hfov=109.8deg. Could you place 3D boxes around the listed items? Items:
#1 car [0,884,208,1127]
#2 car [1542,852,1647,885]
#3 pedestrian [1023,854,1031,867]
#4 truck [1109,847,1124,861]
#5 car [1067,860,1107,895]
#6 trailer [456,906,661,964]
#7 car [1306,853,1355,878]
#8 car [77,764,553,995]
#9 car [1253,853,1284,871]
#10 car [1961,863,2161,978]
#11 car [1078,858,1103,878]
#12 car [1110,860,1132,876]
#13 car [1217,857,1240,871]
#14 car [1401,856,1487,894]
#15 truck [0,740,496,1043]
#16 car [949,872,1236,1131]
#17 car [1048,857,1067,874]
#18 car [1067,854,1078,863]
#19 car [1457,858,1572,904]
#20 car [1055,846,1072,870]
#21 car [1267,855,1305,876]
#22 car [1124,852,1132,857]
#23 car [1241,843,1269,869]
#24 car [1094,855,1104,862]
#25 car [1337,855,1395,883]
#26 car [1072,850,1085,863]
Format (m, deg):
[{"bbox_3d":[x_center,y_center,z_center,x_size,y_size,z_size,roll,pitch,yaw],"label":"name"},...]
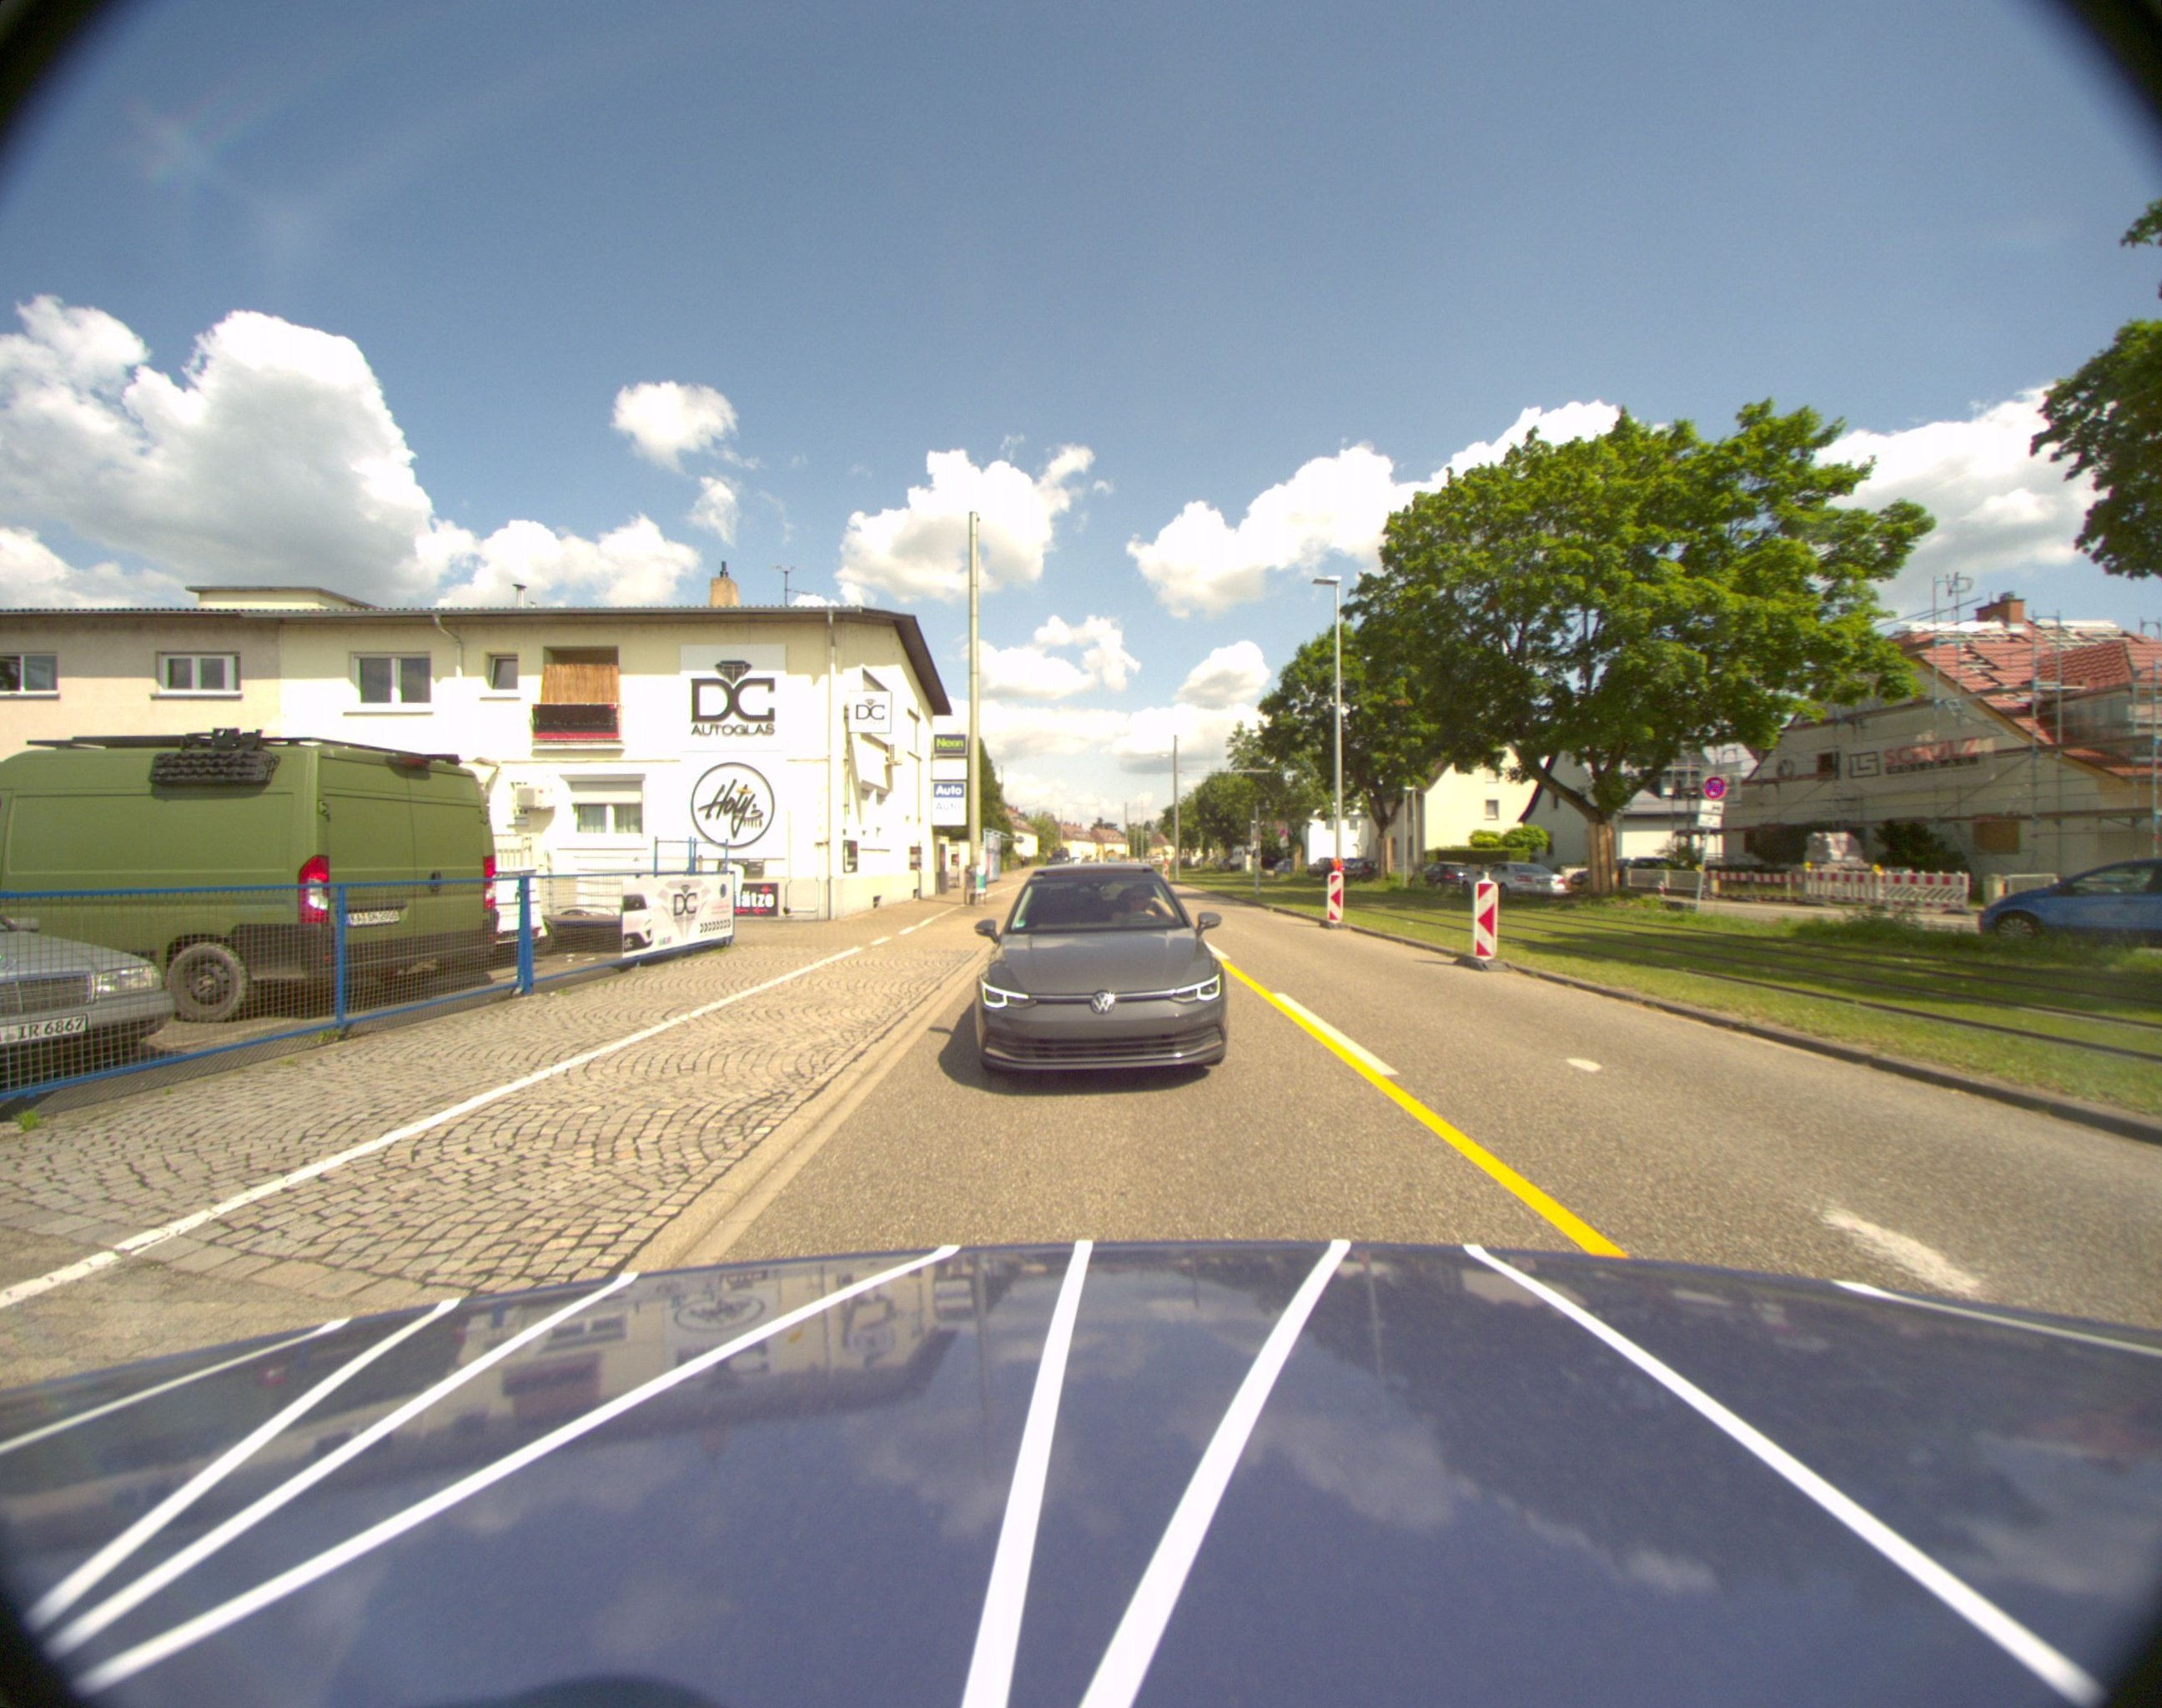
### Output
[{"bbox_3d":[-8.439,0.916,4.817,4.206,1.388,1.804,0,0,8],"label":"car"},{"bbox_3d":[25.509,0.717,37.839,4.047,1.602,1.757,0,0,1],"label":"car"},{"bbox_3d":[-6.342,0.762,89.377,0.816,1.577,0.918,0,0,1],"label":"pedestrian"},{"bbox_3d":[9.404,0.015,201.142,2.590,3.431,8.585,0,0,11],"label":"truck"},{"bbox_3d":[0.286,1.018,34.396,1.719,1.470,4.009,0,0,1],"label":"car"},{"bbox_3d":[-8.065,1.236,11.843,2.329,0.762,1.269,0,0,2],"label":"trailer"},{"bbox_3d":[16.676,0.760,50.914,1.755,1.602,4.606,0,0,0],"label":"car"},{"bbox_3d":[-9.457,0.300,9.659,4.209,2.653,1.803,0,0,0],"label":"car"},{"bbox_3d":[17.582,0.752,71.503,1.755,1.602,4.606,0,0,0],"label":"car"},{"bbox_3d":[16.243,0.956,11.239,1.755,1.602,4.050,0,0,0],"label":"car"},{"bbox_3d":[0.723,1.013,57.336,1.787,1.470,4.009,0,0,1],"label":"car"},{"bbox_3d":[3.717,1.313,71.000,1.755,1.405,4.261,0,0,0],"label":"car"},{"bbox_3d":[16.930,1.148,87.277,1.755,1.602,4.606,0,0,0],"label":"car"},{"bbox_3d":[16.587,0.913,35.036,1.755,1.602,4.606,0,0,0],"label":"car"},{"bbox_3d":[-8.626,0.327,7.554,3.997,2.592,2.069,0,0,1],"label":"truck"},{"bbox_3d":[0.097,0.936,6.576,1.719,1.470,4.009,0,0,1],"label":"car"},{"bbox_3d":[-2.163,1.063,70.994,1.720,1.470,4.009,0,0,0],"label":"car"},{"bbox_3d":[-1.367,0.734,122.966,1.720,1.470,4.009,0,0,0],"label":"car"},{"bbox_3d":[16.386,0.962,29.014,1.755,1.602,4.606,0,0,0],"label":"car"},{"bbox_3d":[-1.920,0.408,82.856,1.720,2.526,5.794,0,0,0],"label":"car"},{"bbox_3d":[16.492,0.913,61.363,1.755,1.602,4.606,0,0,0],"label":"car"},{"bbox_3d":[13.530,0.228,218.484,1.718,1.470,4.013,0,0,13],"label":"car"},{"bbox_3d":[17.643,0.193,77.083,1.755,2.601,4.606,0,0,0],"label":"car"},{"bbox_3d":[4.104,0.990,172.743,1.718,1.470,4.011,0,0,8],"label":"car"},{"bbox_3d":[16.898,0.847,45.274,1.755,1.602,4.606,0,0,0],"label":"car"},{"bbox_3d":[-0.430,0.395,136.329,1.719,2.360,5.211,0,0,5],"label":"car"}]
